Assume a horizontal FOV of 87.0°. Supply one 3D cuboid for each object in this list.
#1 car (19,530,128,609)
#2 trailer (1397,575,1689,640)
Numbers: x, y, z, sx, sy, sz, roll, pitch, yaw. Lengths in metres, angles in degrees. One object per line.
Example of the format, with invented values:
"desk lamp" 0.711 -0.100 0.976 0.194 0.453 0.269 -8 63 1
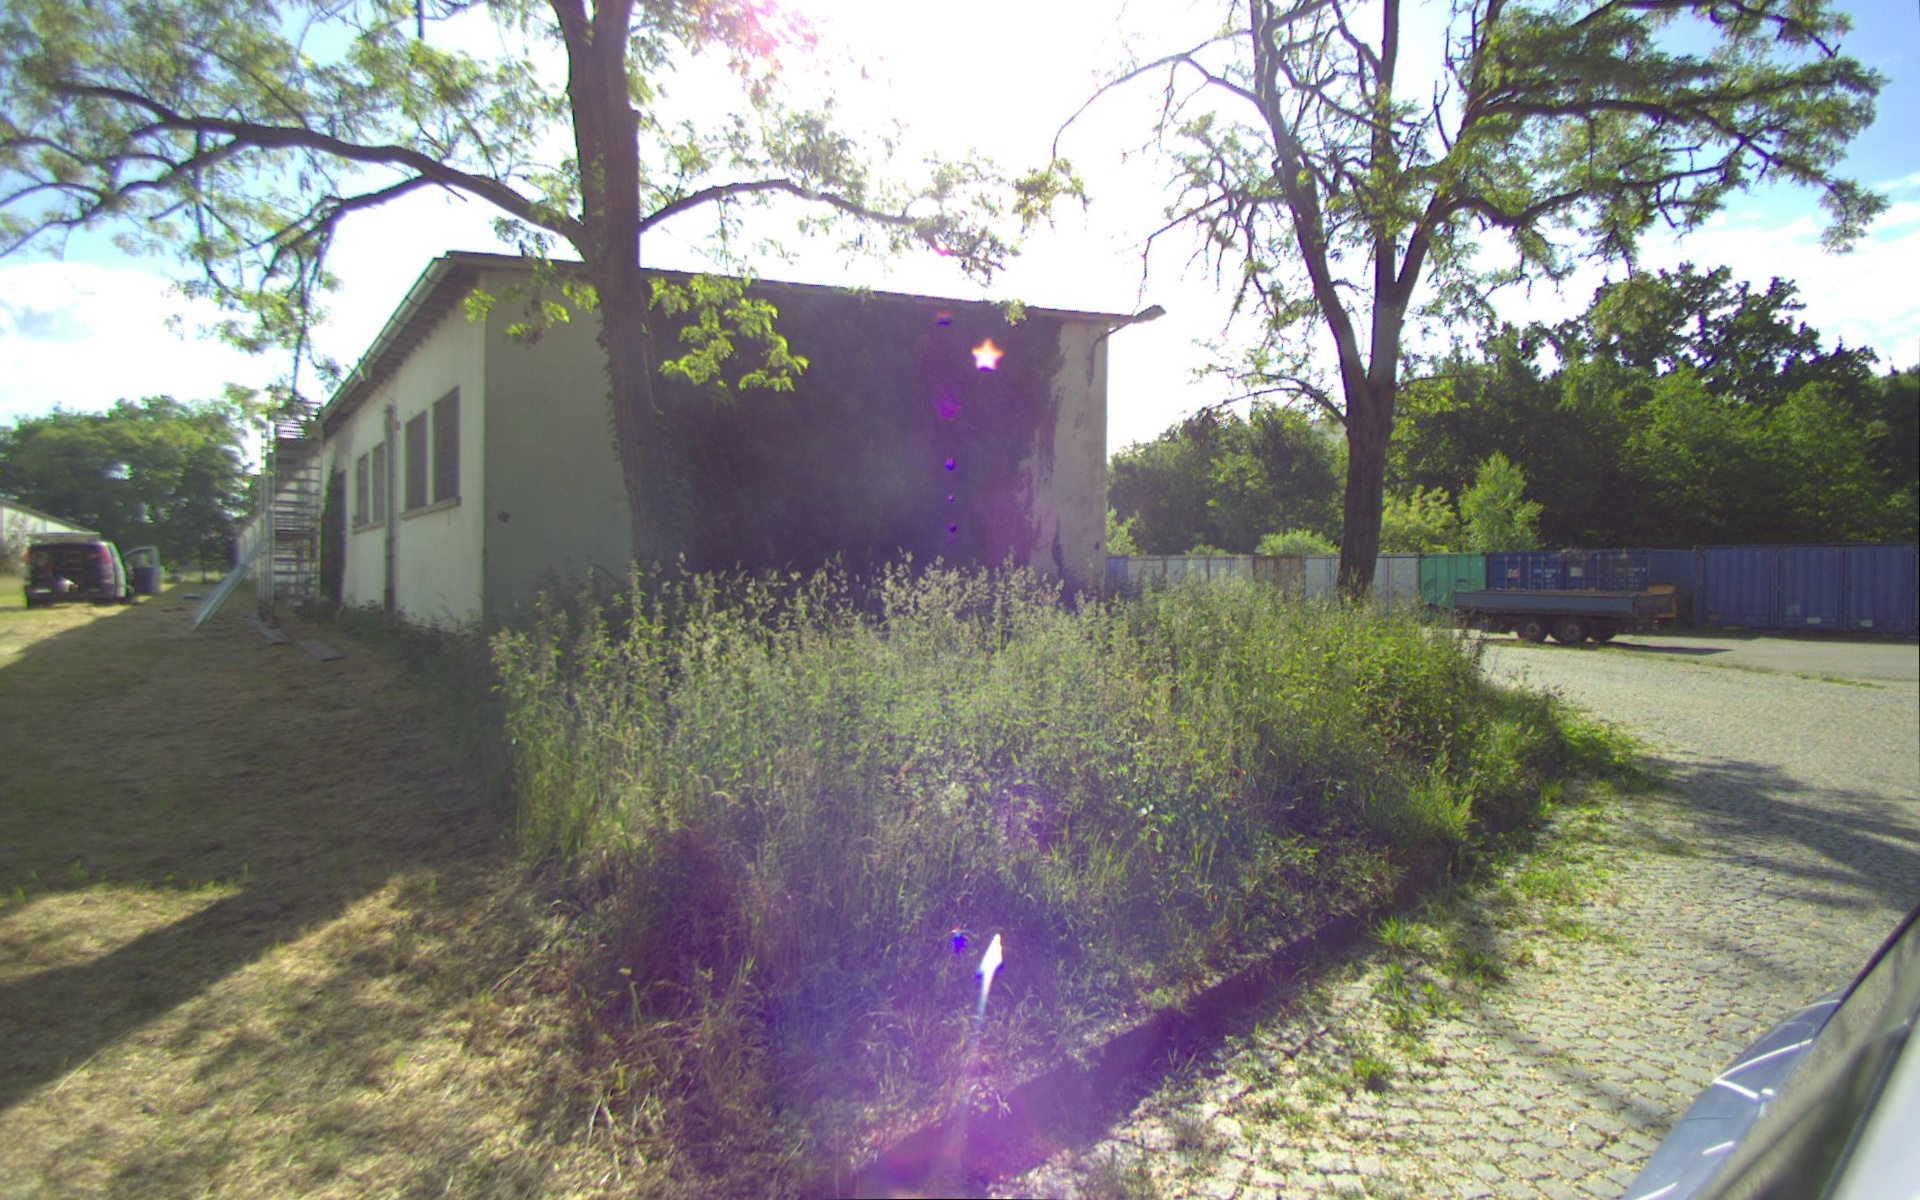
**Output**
"car" -24.460 -0.834 28.054 1.963 2.039 3.999 0 1 -37
"trailer" 15.935 0.127 28.097 2.803 1.536 6.489 -2 2 -37
